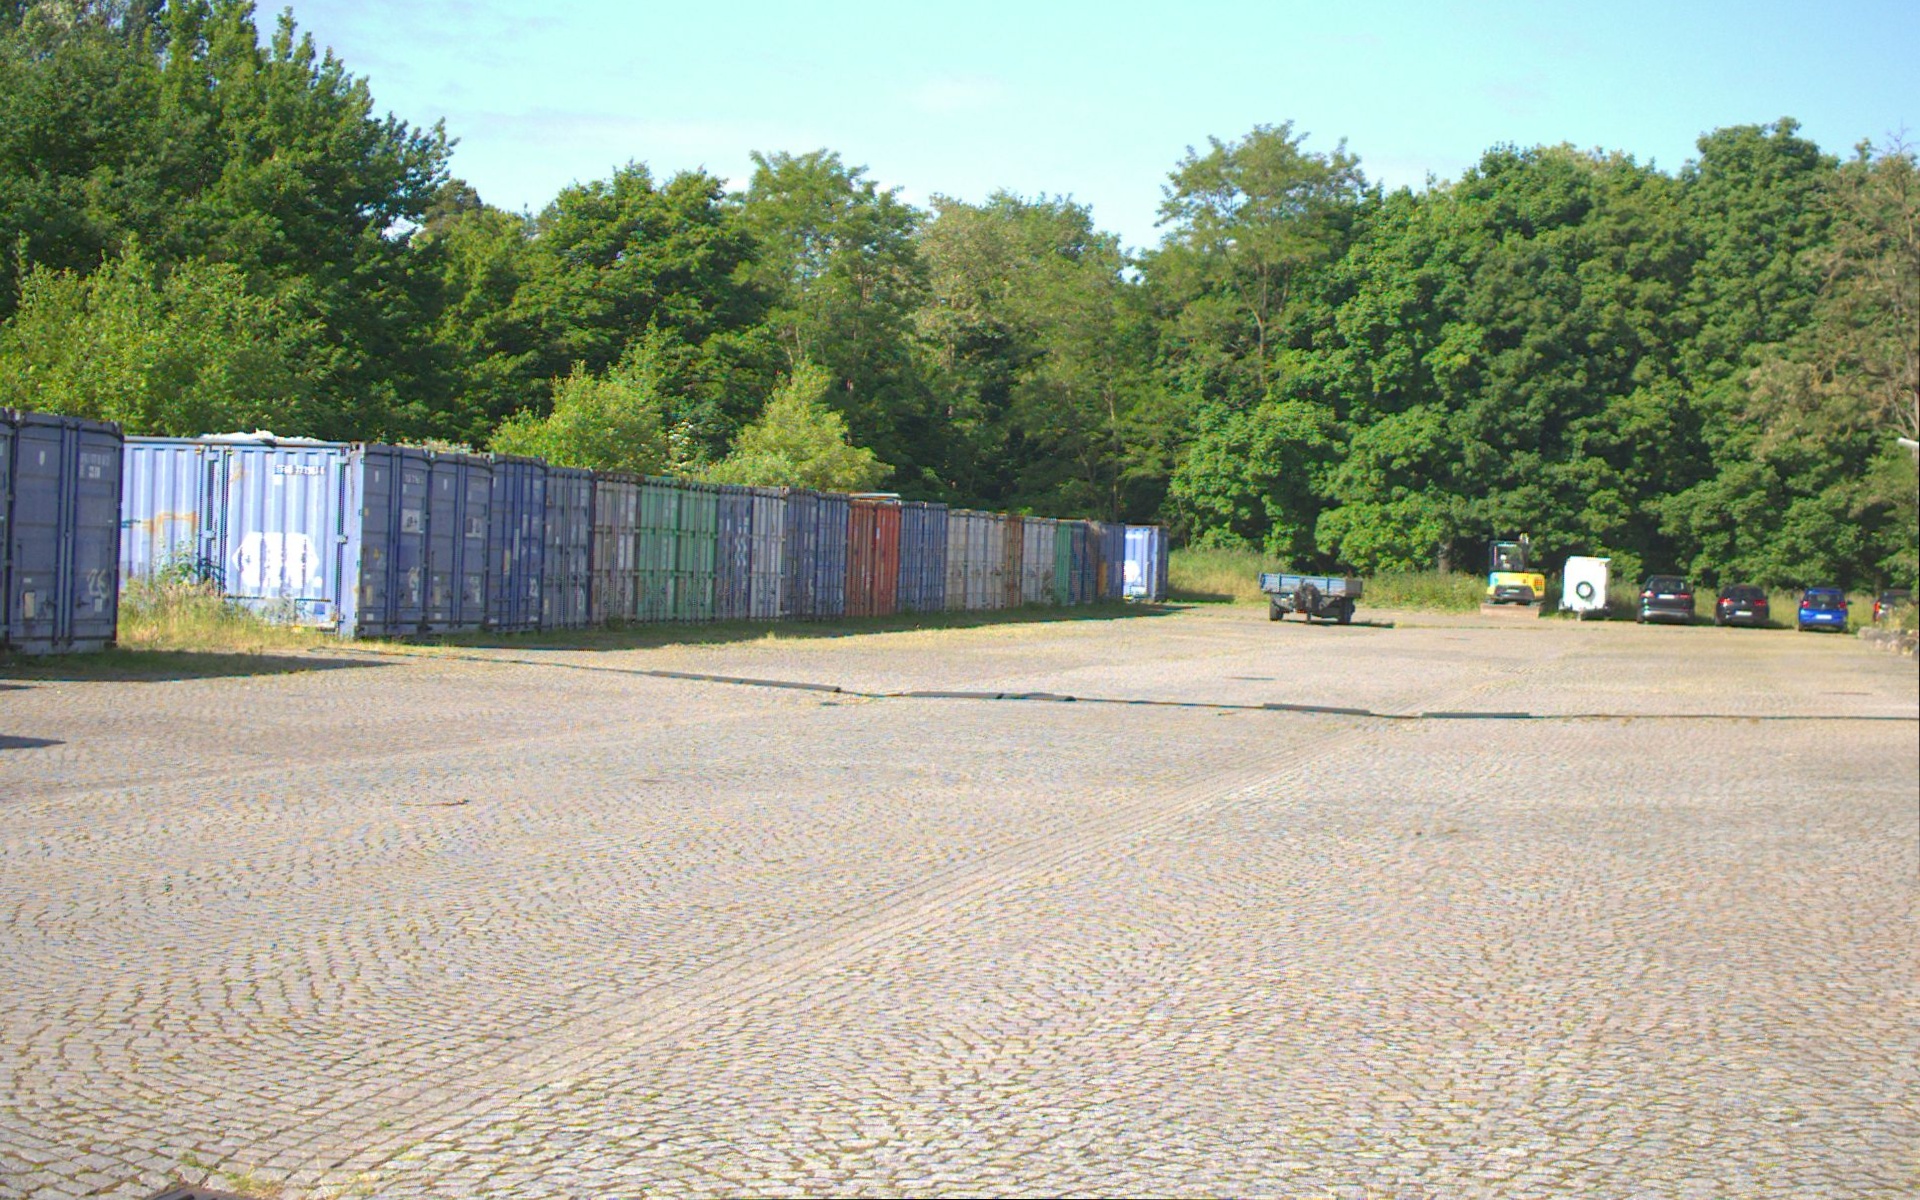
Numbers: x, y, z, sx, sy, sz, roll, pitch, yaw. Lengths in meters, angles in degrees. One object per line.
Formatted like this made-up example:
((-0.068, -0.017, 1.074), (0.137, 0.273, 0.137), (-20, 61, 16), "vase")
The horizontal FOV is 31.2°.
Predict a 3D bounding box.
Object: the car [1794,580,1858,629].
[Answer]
((28.876, 0.133, 114.549), (1.746, 1.431, 4.179), (4, 3, 18), "car")

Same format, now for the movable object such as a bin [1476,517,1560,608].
((19.419, -1.341, 119.458), (2.308, 2.886, 5.748), (4, 3, 13), "movable object such as a bin")

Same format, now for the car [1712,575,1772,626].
((26.192, 0.012, 115.233), (1.865, 1.465, 4.293), (4, 3, 12), "car")

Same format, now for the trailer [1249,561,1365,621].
((10.183, -0.291, 100.385), (2.707, 1.460, 6.244), (4, 2, 11), "trailer")

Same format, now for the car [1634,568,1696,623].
((23.690, -0.167, 115.433), (1.865, 1.583, 4.293), (4, 3, 12), "car")

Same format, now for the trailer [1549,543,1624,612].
((21.592, -0.810, 118.351), (2.194, 2.087, 5.748), (4, 3, 12), "trailer")
